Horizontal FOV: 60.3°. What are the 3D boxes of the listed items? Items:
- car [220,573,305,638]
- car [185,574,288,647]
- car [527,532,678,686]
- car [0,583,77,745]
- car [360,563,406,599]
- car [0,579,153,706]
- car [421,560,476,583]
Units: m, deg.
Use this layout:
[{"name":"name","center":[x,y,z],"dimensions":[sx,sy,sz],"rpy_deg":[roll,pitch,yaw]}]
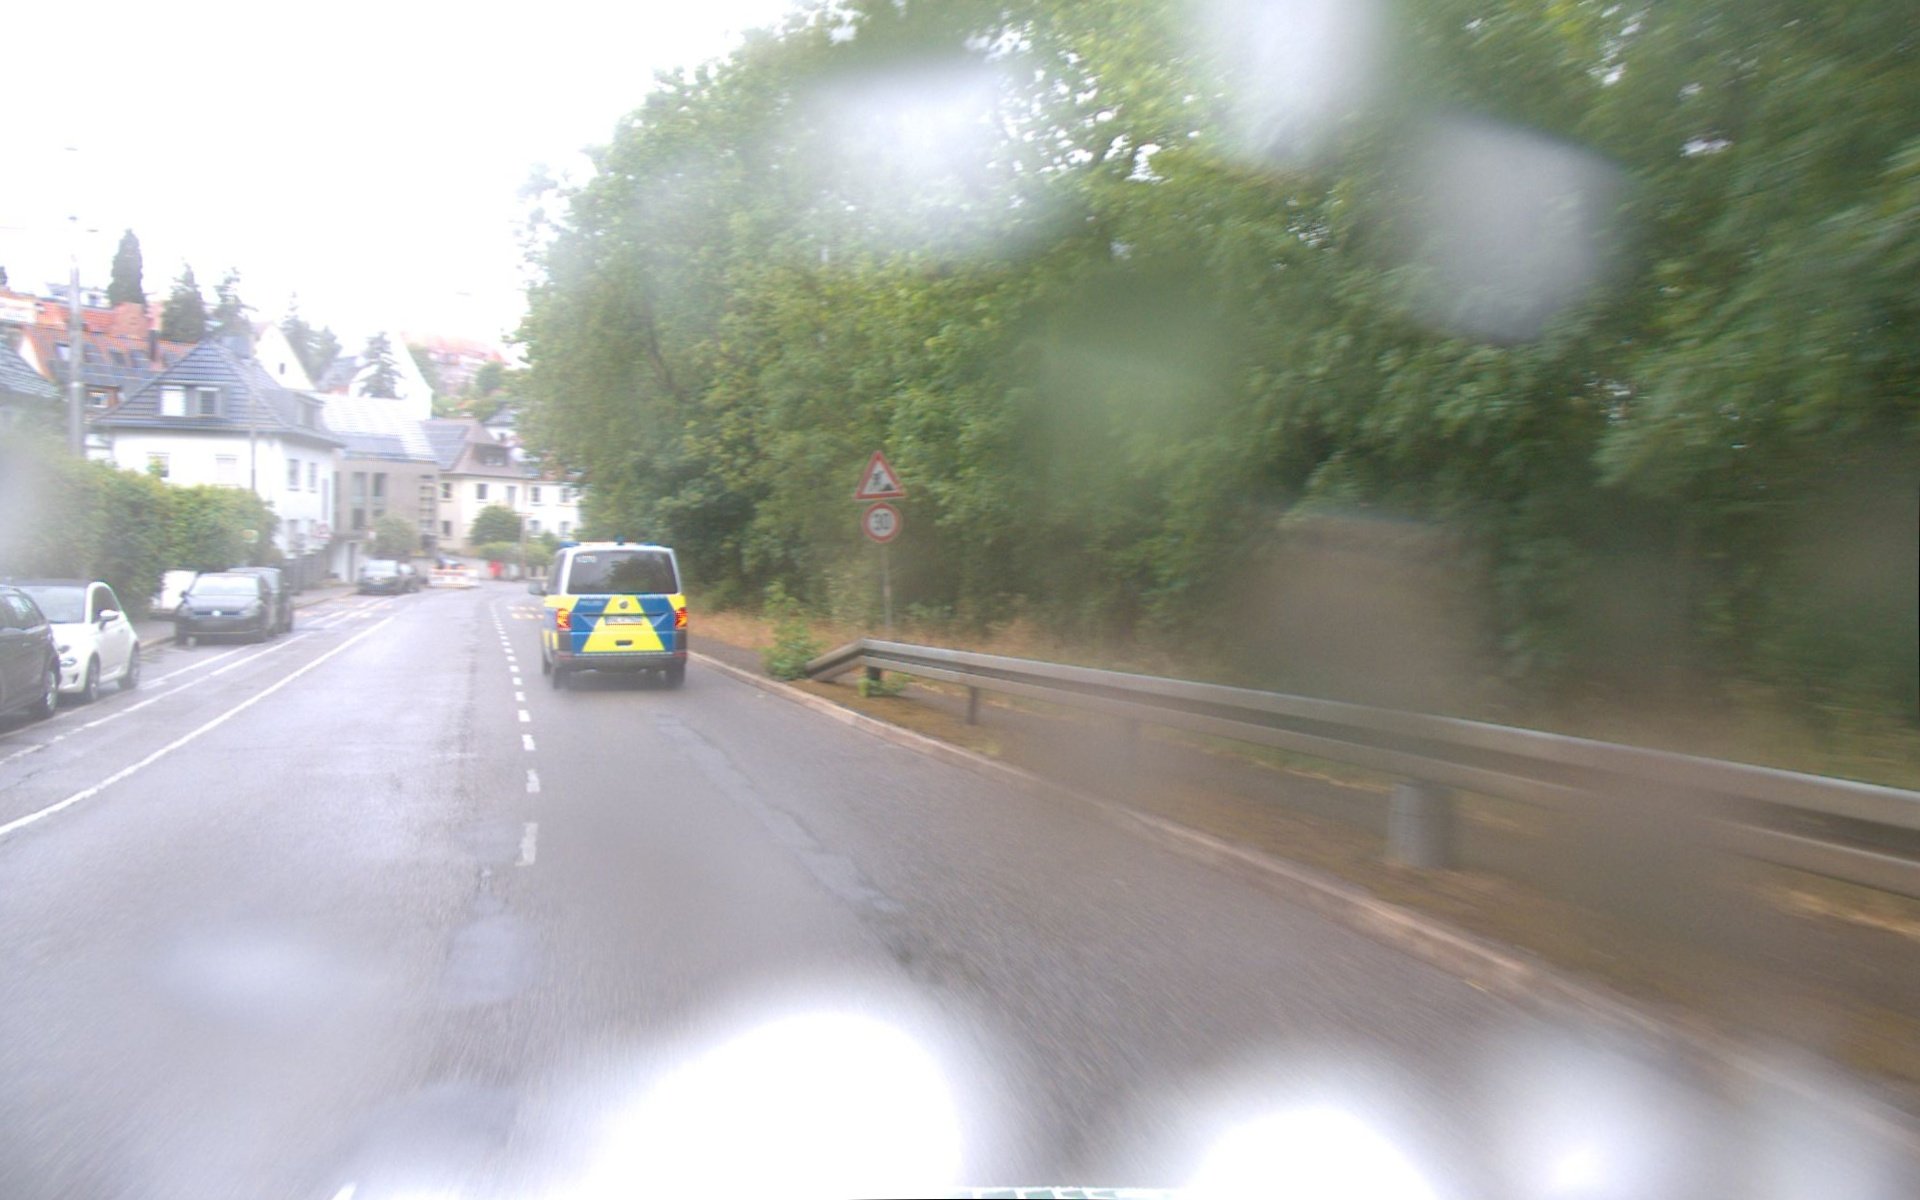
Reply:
[{"name":"car","center":[-16.912,0.103,40.188],"dimensions":[1.494,1.479,3.017],"rpy_deg":[0,2,-16]},{"name":"car","center":[-15.762,0.184,36.185],"dimensions":[1.662,1.443,4.193],"rpy_deg":[0,2,-18]},{"name":"car","center":[-5.241,0.136,24.272],"dimensions":[1.959,2.049,4.387],"rpy_deg":[1,0,-12]},{"name":"car","center":[-10.582,0.610,17.165],"dimensions":[1.671,1.551,4.401],"rpy_deg":[1,1,-17]},{"name":"car","center":[-28.072,-0.934,80.559],"dimensions":[1.725,1.687,4.389],"rpy_deg":[0,2,-14]},{"name":"car","center":[-11.868,0.499,21.744],"dimensions":[1.671,1.493,3.693],"rpy_deg":[1,1,-17]},{"name":"car","center":[-37.317,-2.105,120.551],"dimensions":[3.921,1.468,1.832],"rpy_deg":[3,2,36]}]
